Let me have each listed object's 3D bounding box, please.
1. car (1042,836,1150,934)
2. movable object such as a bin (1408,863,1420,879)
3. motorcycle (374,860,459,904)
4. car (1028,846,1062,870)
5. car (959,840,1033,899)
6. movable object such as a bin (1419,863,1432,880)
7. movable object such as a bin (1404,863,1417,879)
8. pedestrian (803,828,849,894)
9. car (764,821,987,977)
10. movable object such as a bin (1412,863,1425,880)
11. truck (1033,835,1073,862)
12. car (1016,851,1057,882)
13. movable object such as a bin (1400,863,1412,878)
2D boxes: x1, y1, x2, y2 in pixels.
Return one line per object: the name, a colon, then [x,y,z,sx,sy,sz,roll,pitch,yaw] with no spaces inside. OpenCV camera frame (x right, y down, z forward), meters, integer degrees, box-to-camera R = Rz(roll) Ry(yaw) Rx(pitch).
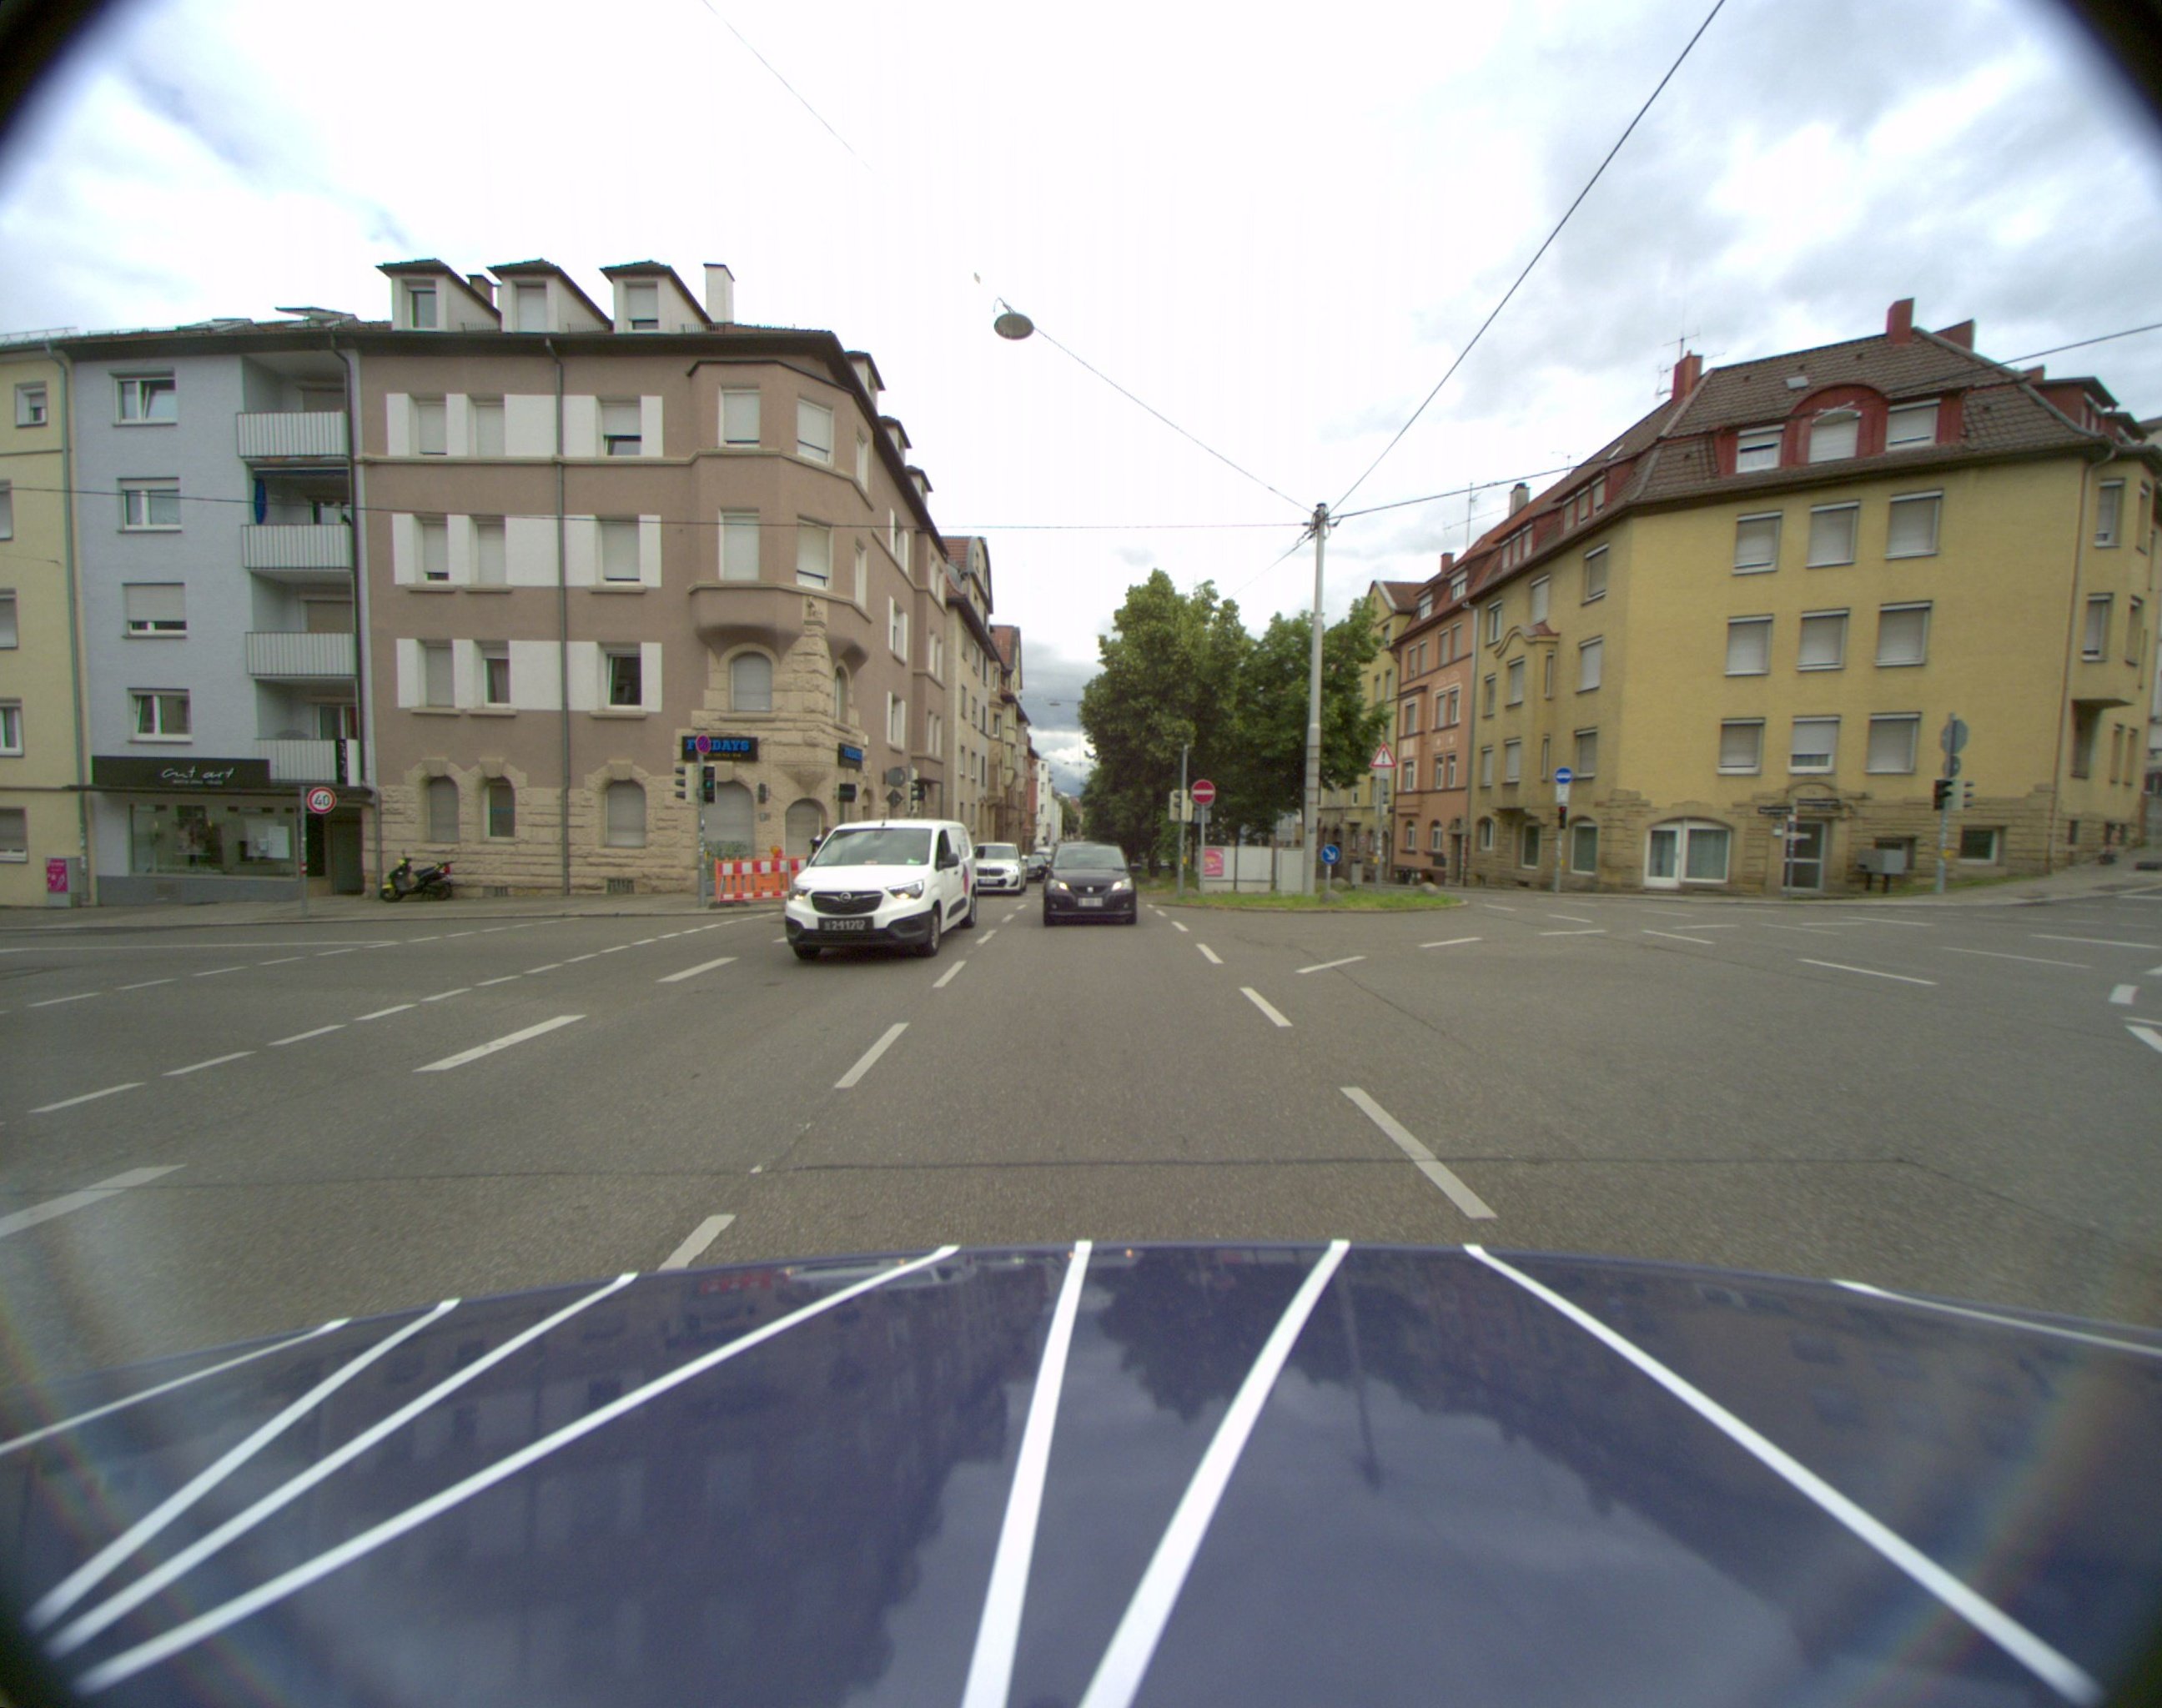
car: [0.236,0.468,13.444,1.604,1.448,3.684,2,0,0]
movable object such as a bin: [17.927,0.912,40.917,0.487,0.859,0.449,2,1,6]
motorcycle: [-16.993,0.713,19.444,1.682,1.077,0.514,-1,4,2]
car: [-2.309,0.238,49.948,1.841,1.477,4.001,2,0,3]
car: [-2.535,0.452,23.628,1.780,1.598,4.163,-2,0,0]
movable object such as a bin: [17.938,0.915,39.582,0.487,0.859,0.449,2,1,6]
movable object such as a bin: [18.012,0.913,41.545,0.487,0.859,0.449,2,1,6]
pedestrian: [-6.507,0.167,19.382,1.006,1.638,0.733,0,1,-27]
car: [-2.663,0.471,11.149,1.788,1.779,4.843,-1,1,2]
movable object such as a bin: [17.895,0.912,40.253,0.487,0.859,0.449,2,1,6]
truck: [-3.082,-0.589,86.963,2.550,2.891,7.785,2,0,13]
car: [-2.200,0.629,38.328,1.780,1.433,4.163,-2,0,0]
movable object such as a bin: [18.039,0.912,42.212,0.487,0.859,0.449,2,1,6]
